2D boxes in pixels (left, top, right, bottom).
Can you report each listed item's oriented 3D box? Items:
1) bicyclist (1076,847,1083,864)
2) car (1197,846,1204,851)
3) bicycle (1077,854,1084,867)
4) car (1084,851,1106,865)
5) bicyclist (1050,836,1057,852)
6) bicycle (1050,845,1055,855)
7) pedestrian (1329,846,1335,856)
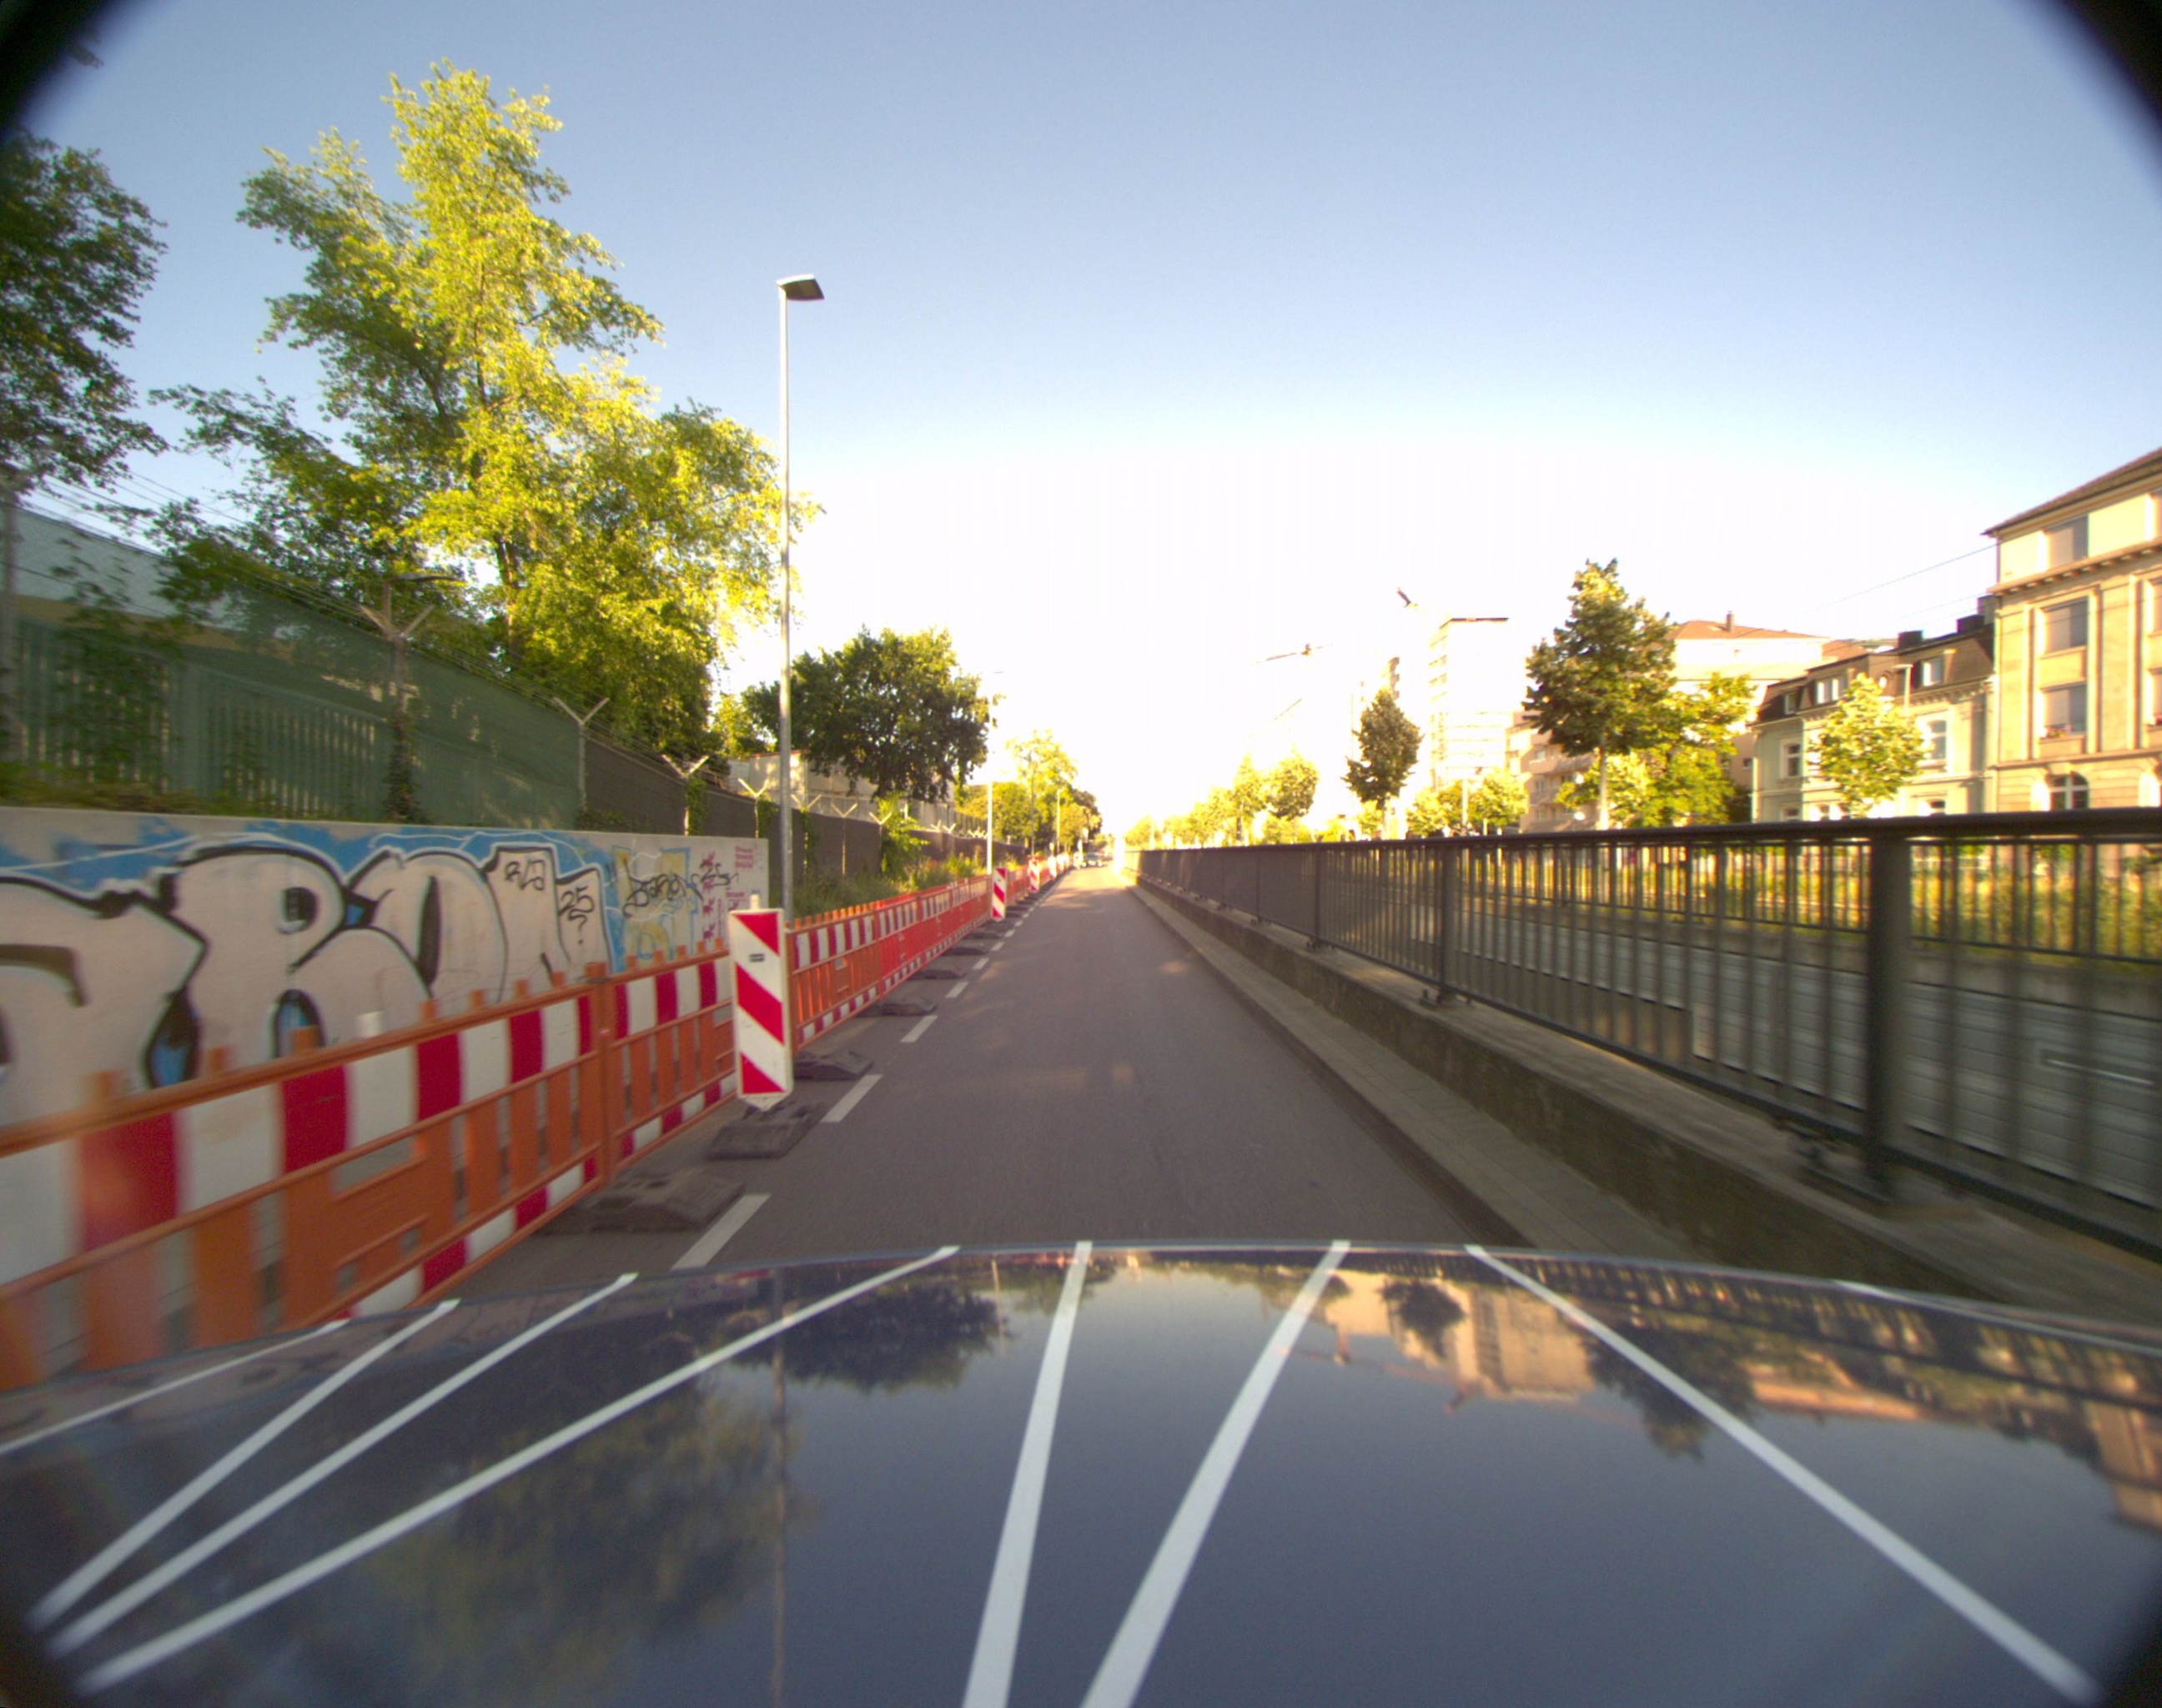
[{"bbox_3d":[-0.109,0.148,63.321,0.516,1.399,0.805,0,1,1],"label":"bicyclist"},{"bbox_3d":[38.257,-1.678,243.105,1.780,1.455,4.662,-1,1,1],"label":"car"},{"bbox_3d":[-0.019,0.510,63.263,0.506,1.018,1.505,-1,1,2],"label":"bicycle"},{"bbox_3d":[1.409,0.354,75.243,1.998,1.346,4.000,-1,1,3],"label":"car"},{"bbox_3d":[-2.780,-0.991,77.444,0.585,1.605,0.903,-1,1,2],"label":"bicyclist"},{"bbox_3d":[-2.892,-0.421,77.172,0.428,1.055,1.911,0,1,2],"label":"bicycle"},{"bbox_3d":[44.313,-0.538,133.920,0.776,1.630,0.882,-1,1,1],"label":"pedestrian"}]
